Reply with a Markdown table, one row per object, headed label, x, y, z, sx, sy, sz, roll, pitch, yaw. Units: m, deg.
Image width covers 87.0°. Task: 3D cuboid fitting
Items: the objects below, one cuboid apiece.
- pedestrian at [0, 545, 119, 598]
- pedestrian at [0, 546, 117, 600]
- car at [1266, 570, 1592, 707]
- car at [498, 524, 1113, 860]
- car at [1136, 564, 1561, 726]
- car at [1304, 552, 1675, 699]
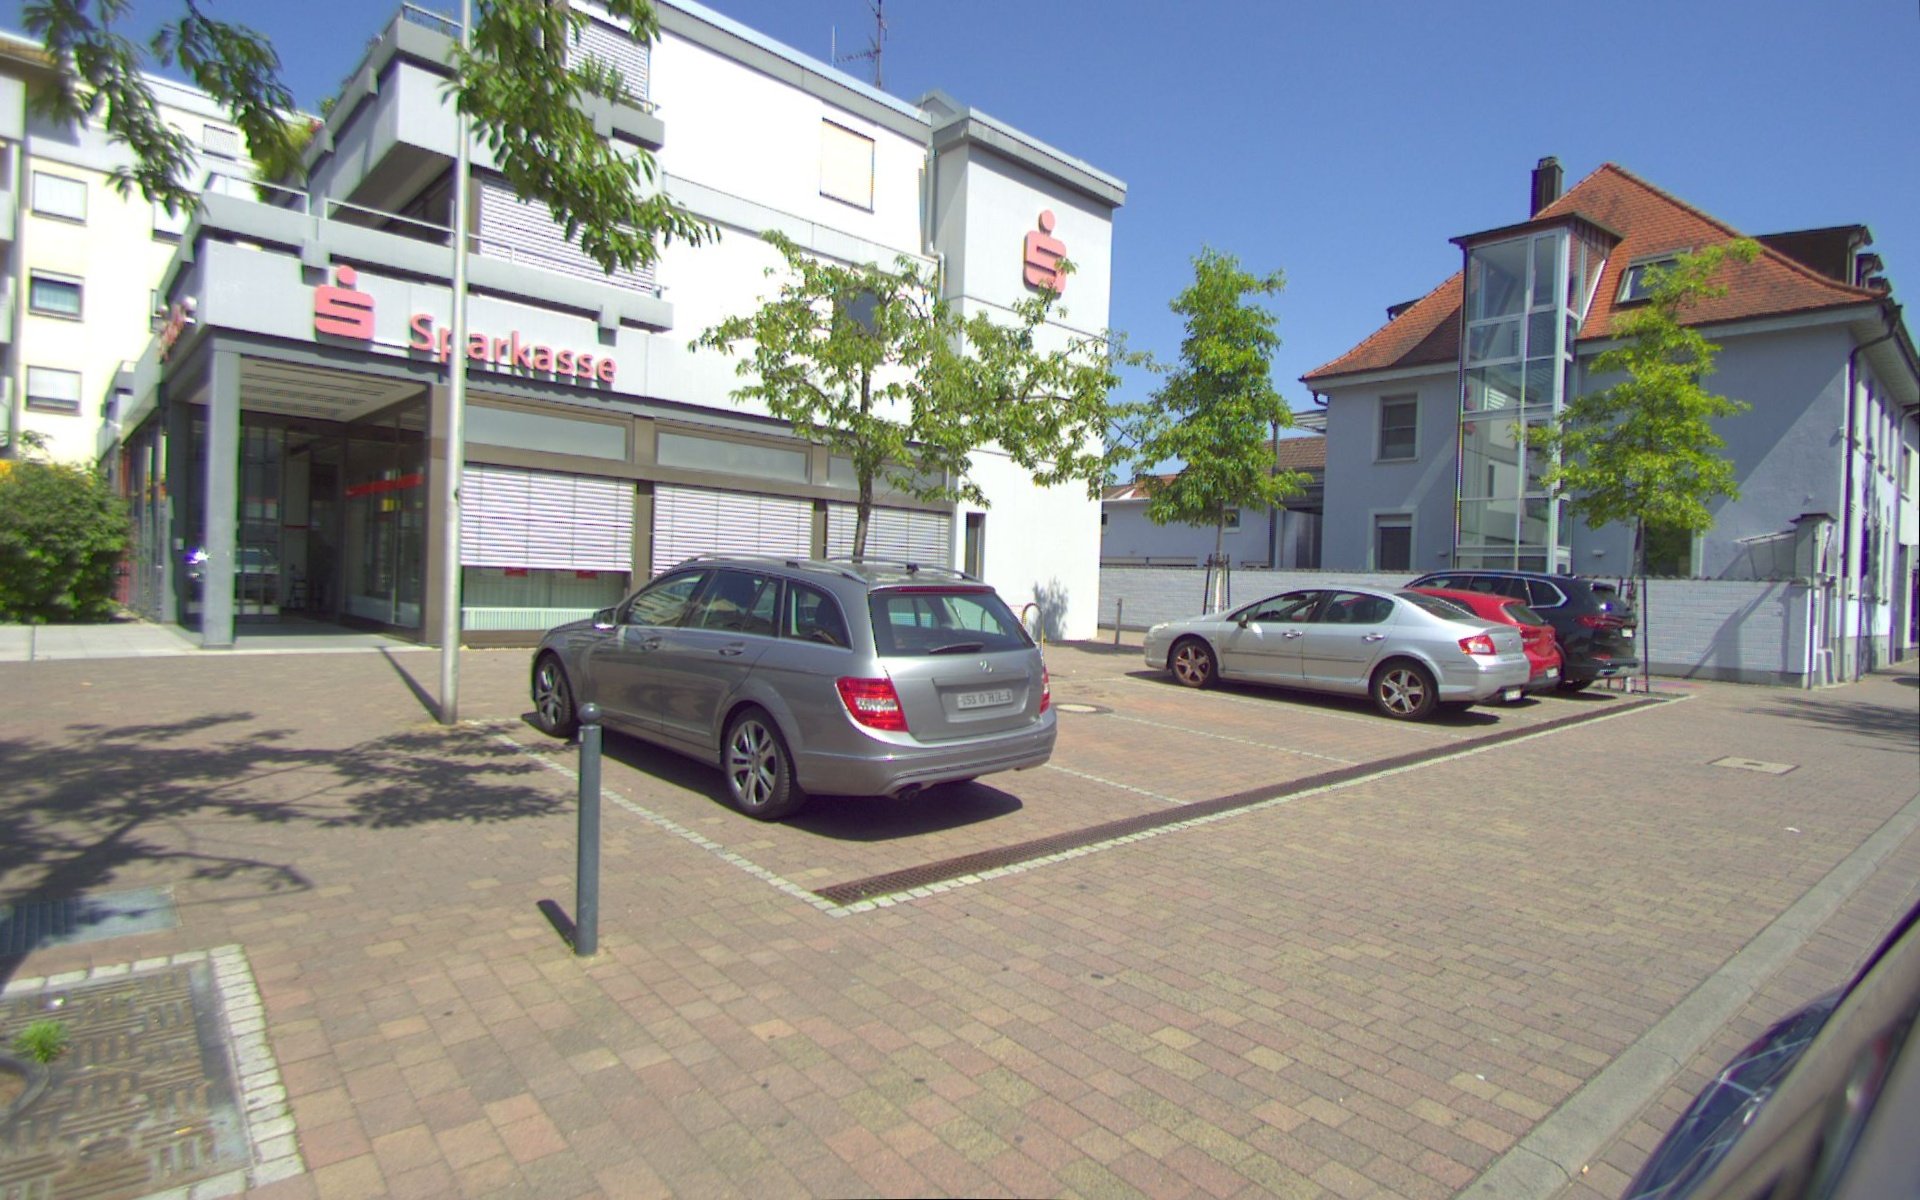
| label | x | y | z | sx | sy | sz | roll | pitch | yaw |
| --- | --- | --- | --- | --- | --- | --- | --- | --- | --- |
| pedestrian | -23.601 | -0.734 | 26.172 | 0.983 | 1.289 | 2.734 | 3 | 1 | 41 |
| pedestrian | -23.102 | -0.667 | 25.486 | 0.983 | 1.289 | 2.734 | 3 | 1 | 41 |
| car | 6.453 | 0.436 | 14.164 | 3.732 | 1.470 | 1.717 | 5 | 3 | 45 |
| car | -1.377 | 0.322 | 7.109 | 4.579 | 1.531 | 1.886 | 5 | 4 | 45 |
| car | 4.627 | 0.409 | 12.578 | 4.539 | 1.458 | 1.810 | 6 | 3 | 45 |
| car | 8.111 | 0.283 | 15.868 | 2.111 | 1.792 | 4.639 | 2 | 3 | -42 |
